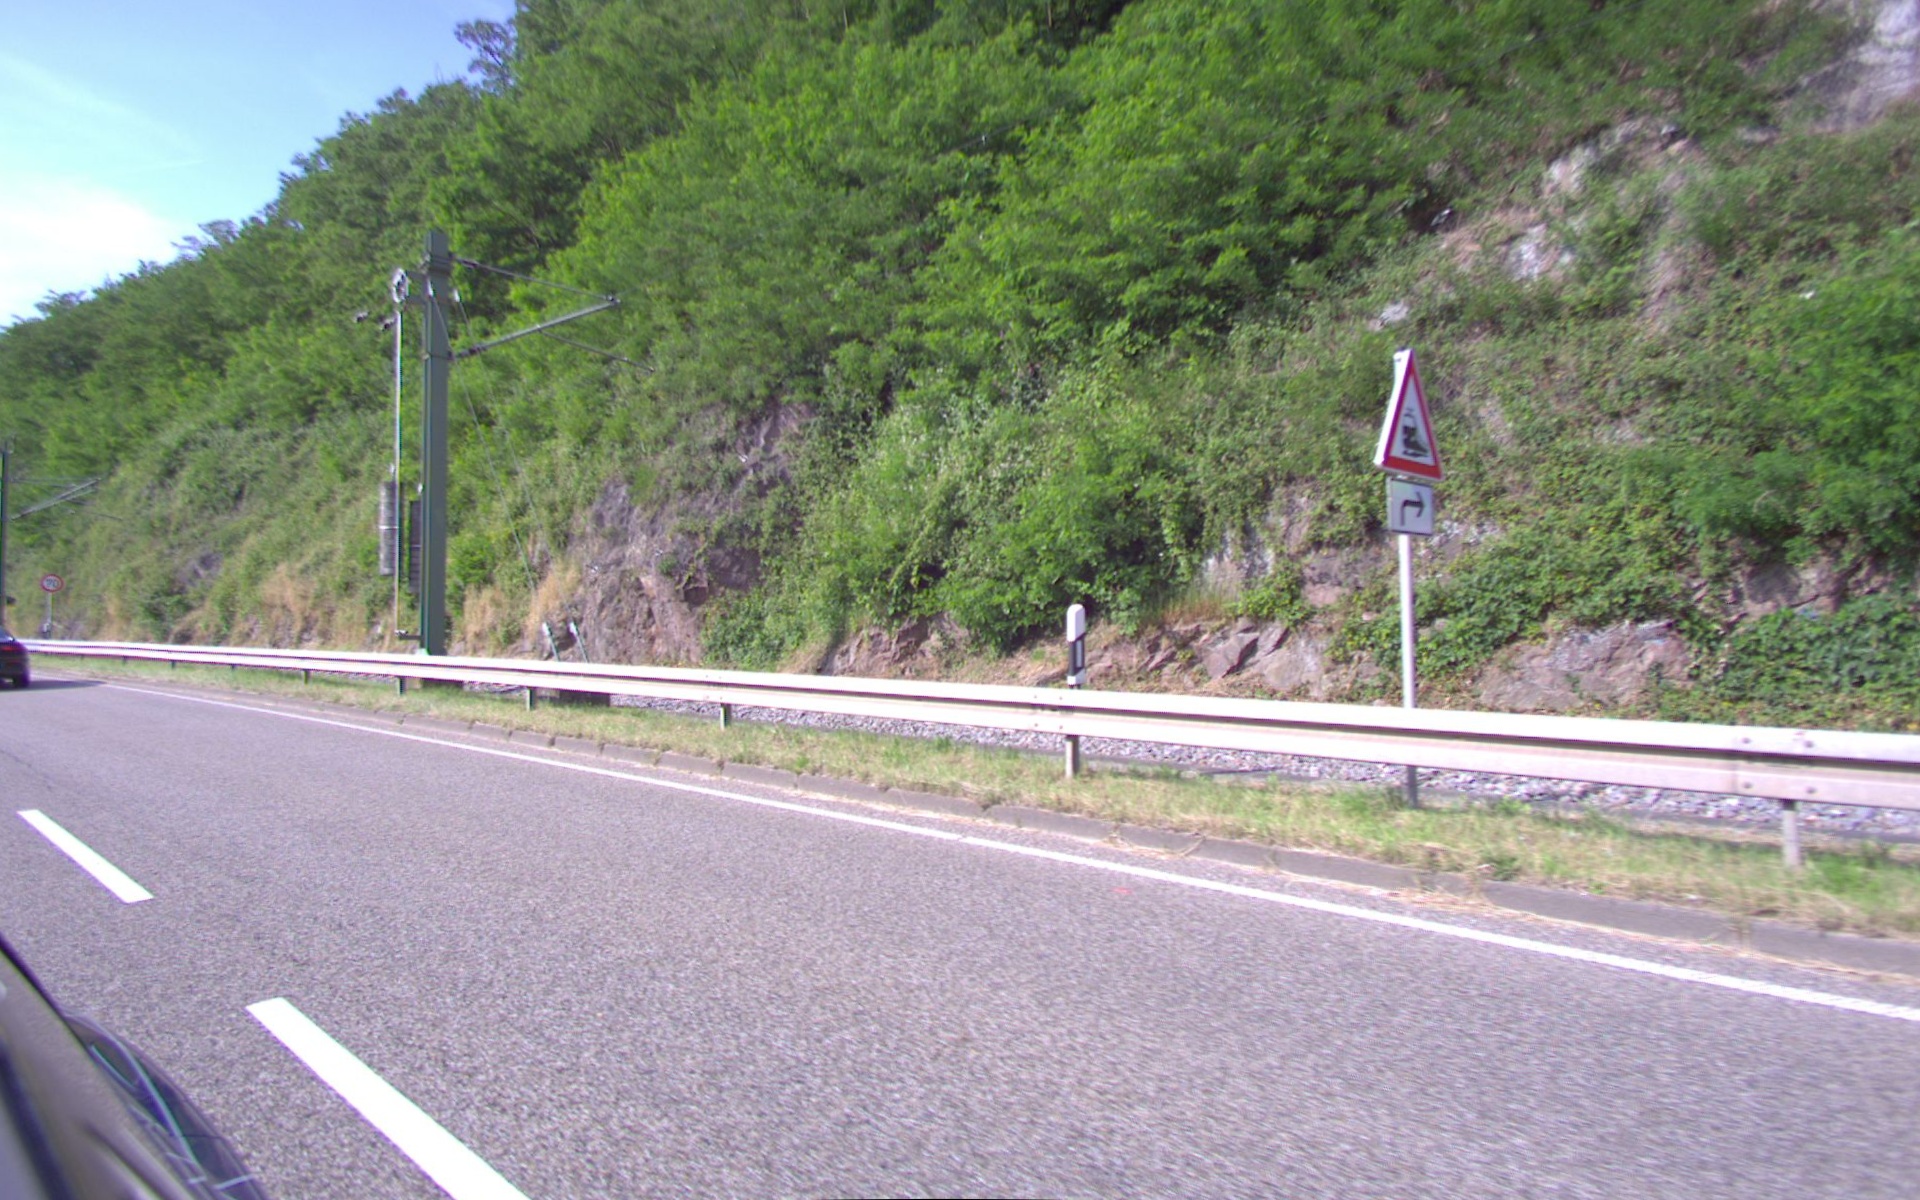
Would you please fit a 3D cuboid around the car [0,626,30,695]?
[{"bbox_3d":[-21.870,1.326,21.996,4.471,1.412,1.829,-2,-1,39],"label":"car"}]
